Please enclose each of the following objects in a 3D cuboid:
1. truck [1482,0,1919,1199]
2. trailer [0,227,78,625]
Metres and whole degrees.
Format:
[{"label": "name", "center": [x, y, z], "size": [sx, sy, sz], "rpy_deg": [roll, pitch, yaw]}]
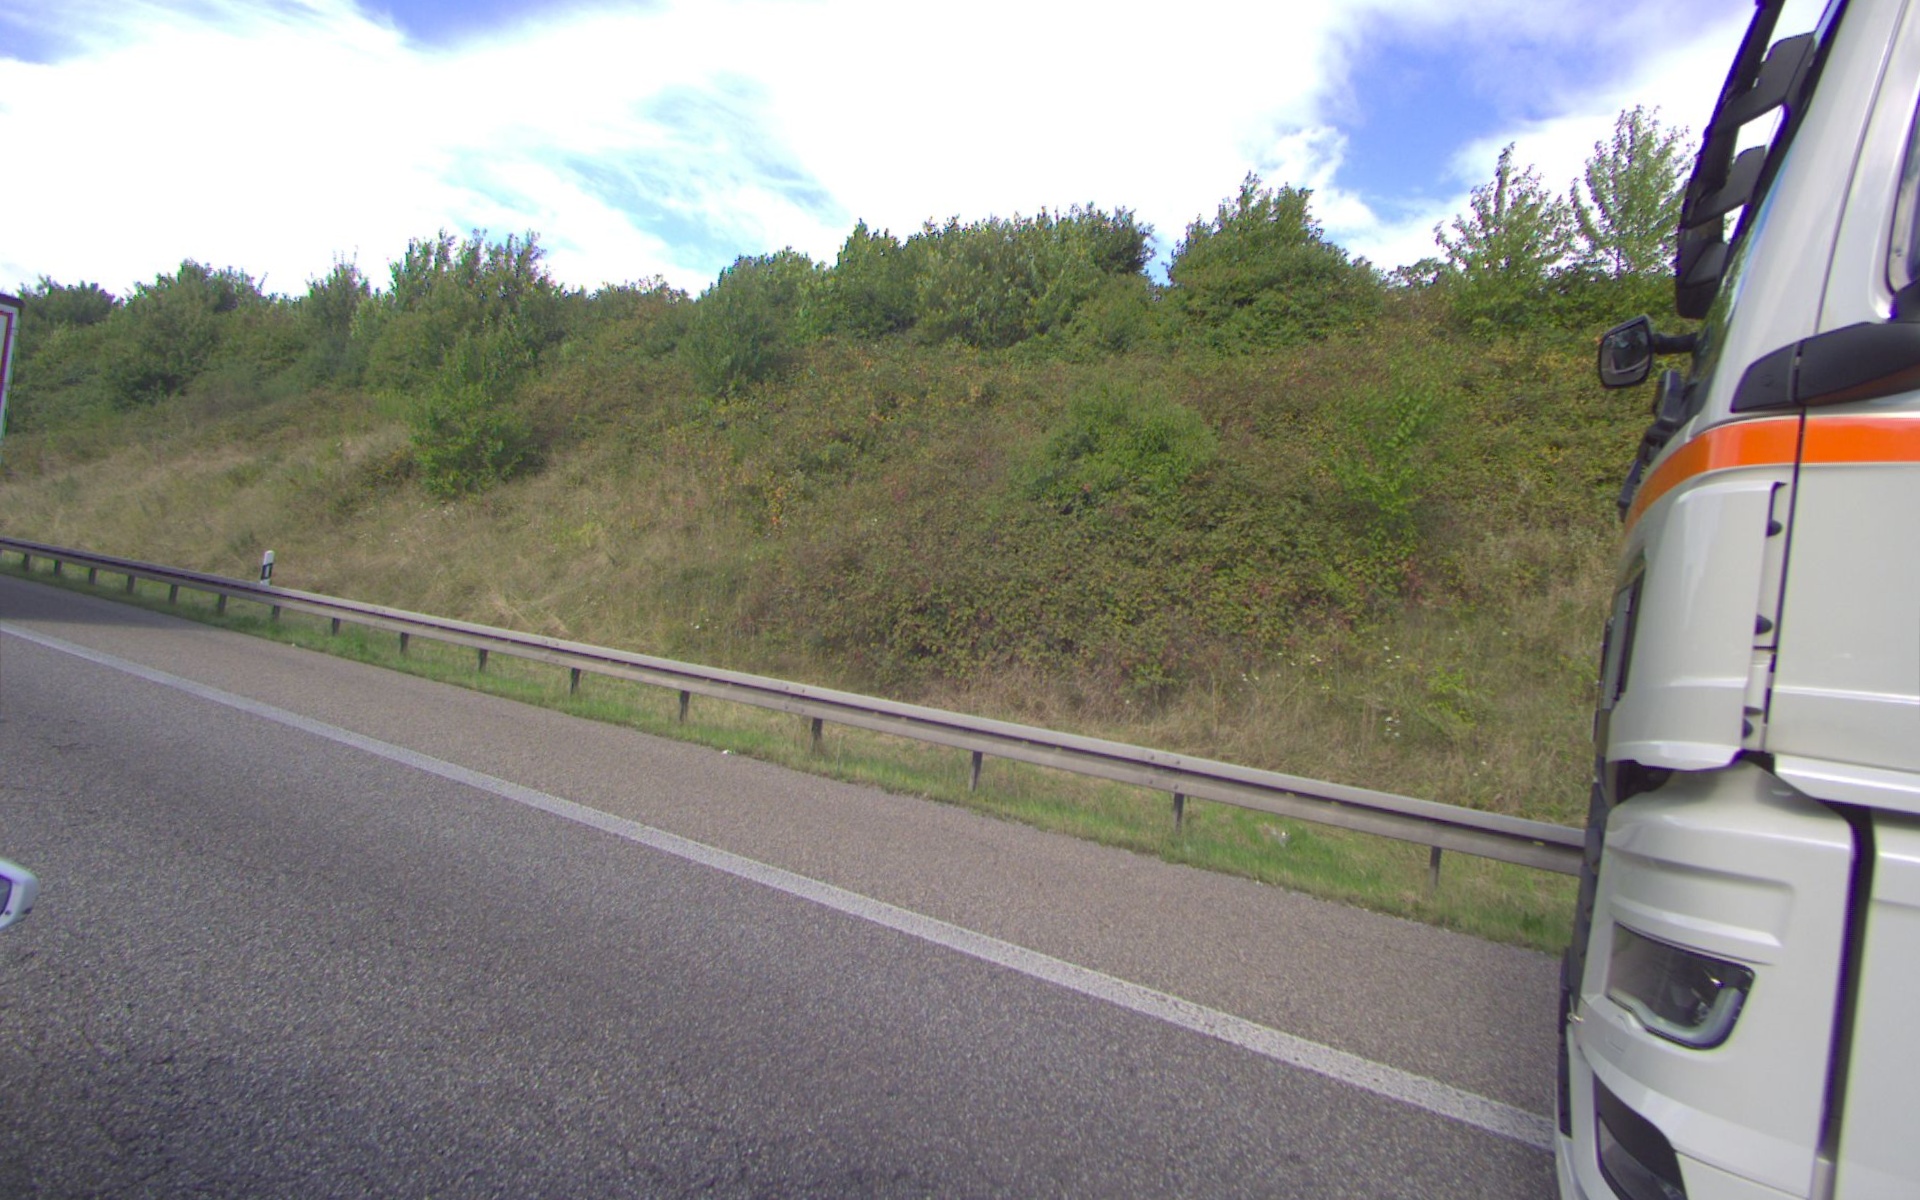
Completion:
[{"label": "truck", "center": [4.255, -0.045, 1.364], "size": [5.808, 4.091, 2.806], "rpy_deg": [6, -1, 33]}, {"label": "trailer", "center": [-17.632, -2.812, 14.751], "size": [13.069, 4.716, 3.007], "rpy_deg": [7, -1, 32]}]
